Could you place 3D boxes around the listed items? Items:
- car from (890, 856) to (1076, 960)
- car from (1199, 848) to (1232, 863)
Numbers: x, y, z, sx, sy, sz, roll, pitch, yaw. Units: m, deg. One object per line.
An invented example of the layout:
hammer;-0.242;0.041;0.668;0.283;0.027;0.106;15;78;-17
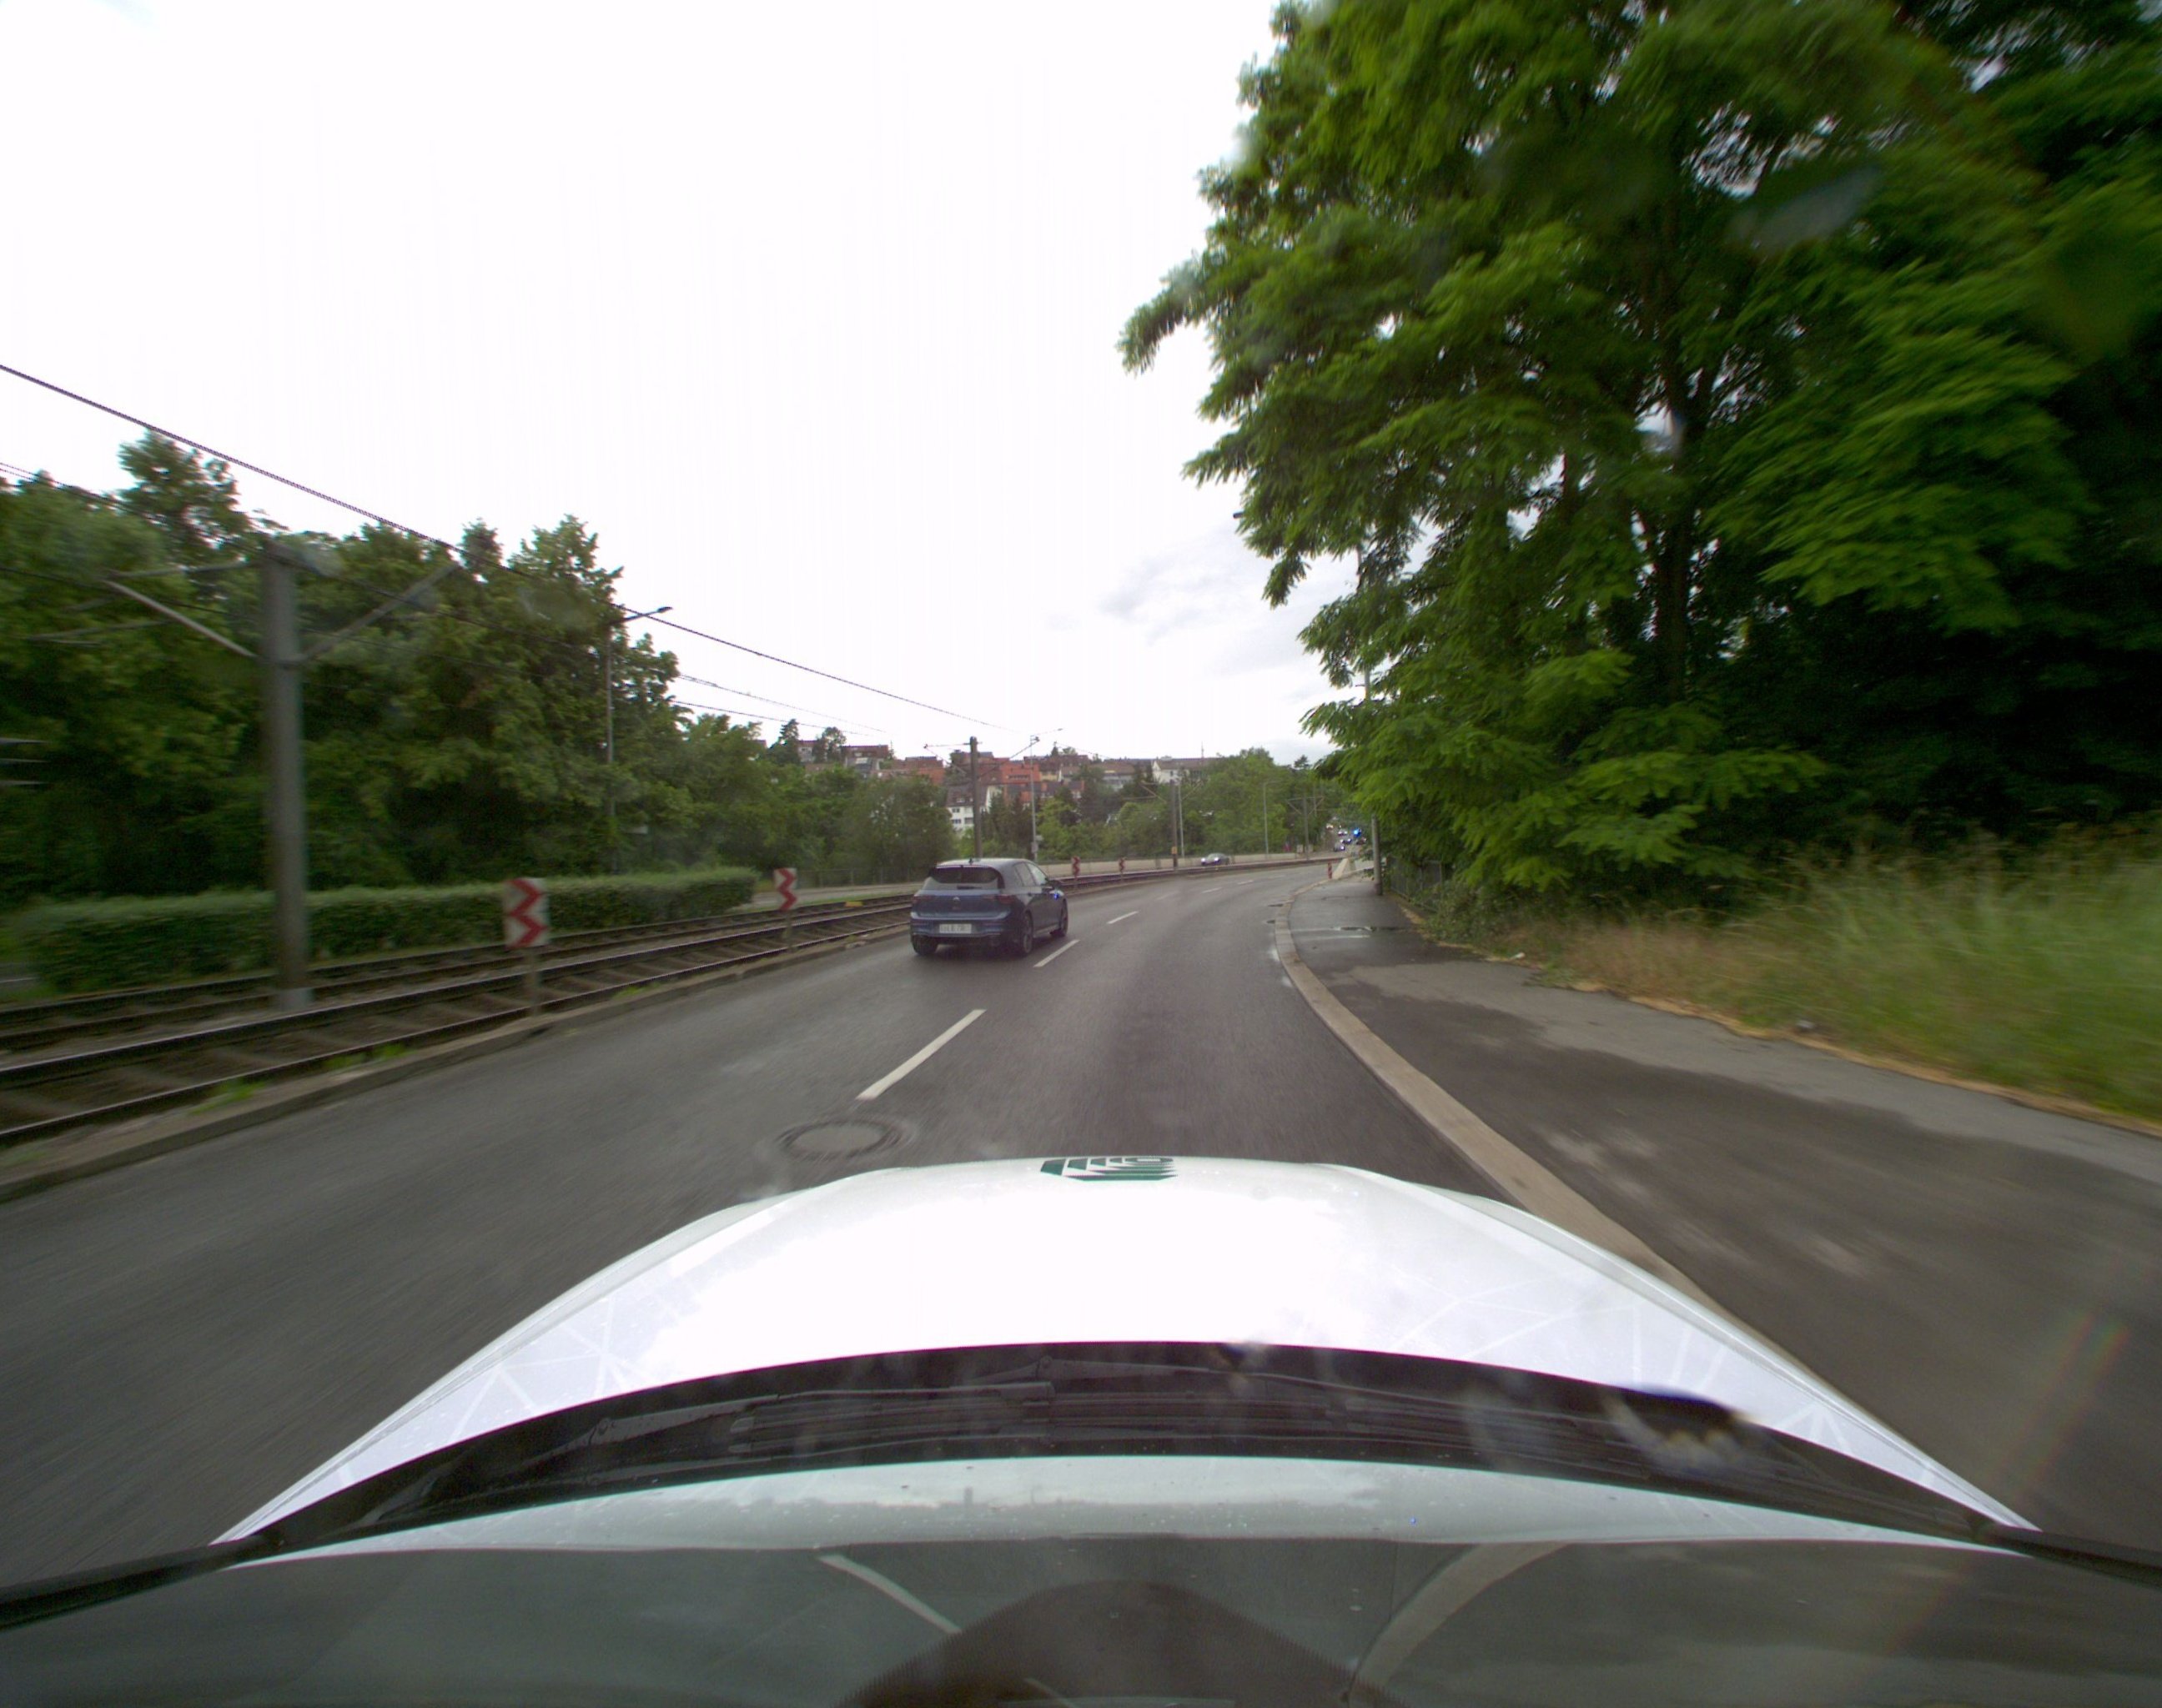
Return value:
car;-1.407;0.767;13.585;1.796;1.378;4.360;-1;0;11
car;13.789;0.178;83.106;1.974;1.366;4.217;-2;0;29
